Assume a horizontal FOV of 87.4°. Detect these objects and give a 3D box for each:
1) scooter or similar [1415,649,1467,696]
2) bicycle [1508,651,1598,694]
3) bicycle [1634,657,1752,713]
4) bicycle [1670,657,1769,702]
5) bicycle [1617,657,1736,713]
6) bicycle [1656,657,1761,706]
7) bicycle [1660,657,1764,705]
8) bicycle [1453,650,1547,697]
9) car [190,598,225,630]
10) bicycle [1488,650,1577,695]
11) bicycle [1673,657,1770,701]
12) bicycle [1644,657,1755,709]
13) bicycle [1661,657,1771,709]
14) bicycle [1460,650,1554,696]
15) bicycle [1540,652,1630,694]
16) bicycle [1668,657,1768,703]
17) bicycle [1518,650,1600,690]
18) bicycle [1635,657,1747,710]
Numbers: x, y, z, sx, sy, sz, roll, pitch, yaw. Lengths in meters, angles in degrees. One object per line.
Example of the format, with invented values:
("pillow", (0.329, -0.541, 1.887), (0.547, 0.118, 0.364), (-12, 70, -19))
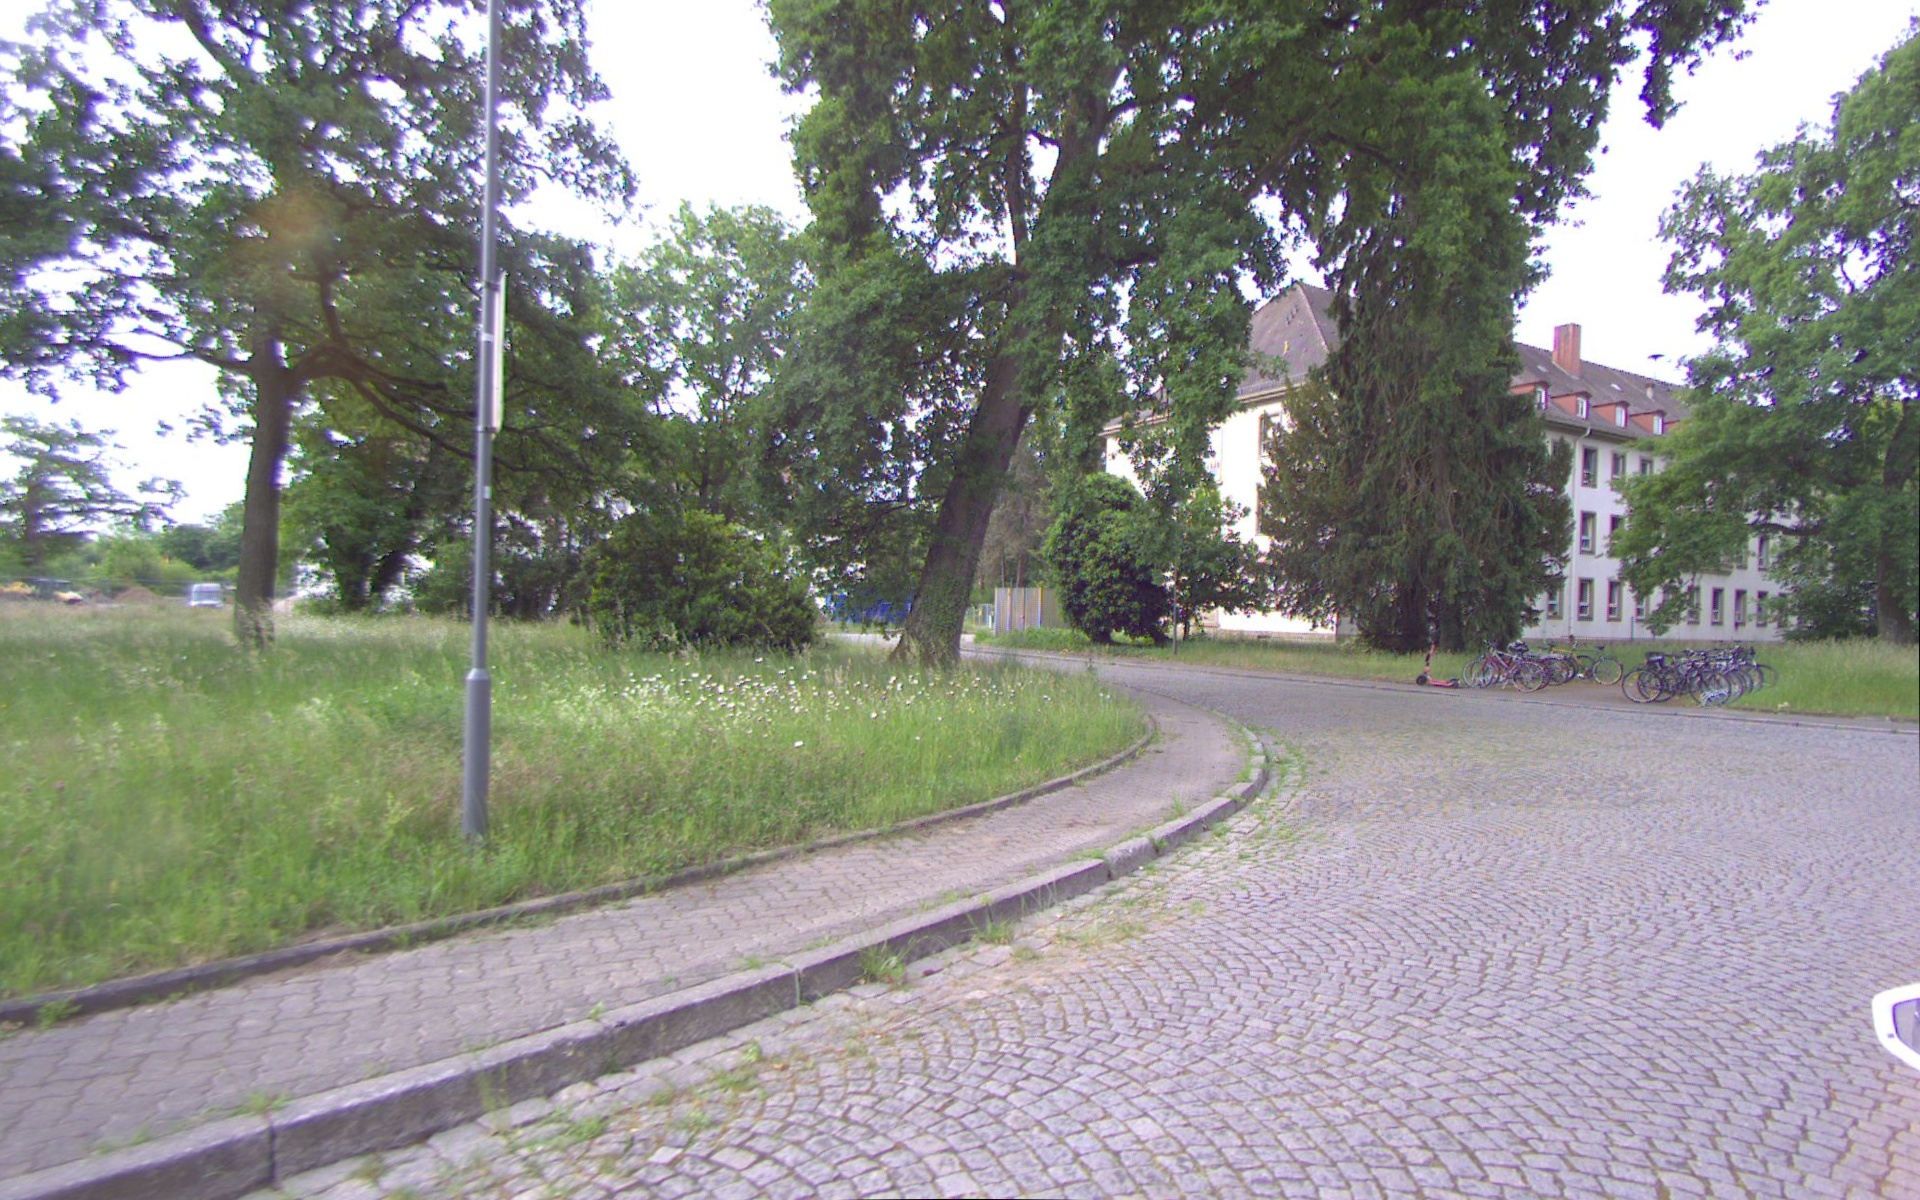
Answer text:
("scooter or similar", (11.758, 1.754, 24.599), (0.445, 1.052, 1.351), (2, -1, -8))
("bicycle", (15.645, 1.889, 26.529), (0.622, 1.002, 1.941), (2, -1, -39))
("bicycle", (15.189, 1.746, 20.858), (1.933, 1.002, 0.624), (1, -1, 38))
("bicycle", (18.991, 1.972, 25.153), (1.933, 1.002, 0.624), (1, -1, 38))
("bicycle", (14.645, 1.721, 20.567), (1.934, 1.002, 0.624), (1, -1, 40))
("bicycle", (17.400, 1.878, 23.385), (1.933, 1.002, 0.624), (1, -1, 38))
("bicycle", (17.809, 1.902, 23.833), (1.933, 1.002, 0.624), (1, -1, 38))
("bicycle", (12.965, 1.744, 24.142), (1.931, 1.002, 0.625), (1, -1, 34))
("car", (-56.928, 1.034, 76.023), (1.982, 2.229, 4.985), (2, -1, -37))
("bicycle", (14.611, 1.834, 25.650), (1.931, 1.002, 0.625), (1, -1, 34))
("bicycle", (19.481, 2.002, 25.738), (1.933, 1.002, 0.624), (1, -1, 38))
("bicycle", (16.279, 1.812, 22.143), (1.933, 1.002, 0.624), (1, -1, 38))
("bicycle", (16.998, 1.848, 22.630), (1.933, 1.002, 0.624), (1, -1, 38))
("bicycle", (13.319, 1.764, 24.501), (1.933, 1.002, 0.624), (1, -1, 38))
("bicycle", (16.640, 1.928, 26.788), (0.622, 1.002, 1.941), (2, -1, -39))
("bicycle", (18.602, 1.949, 24.694), (1.933, 1.002, 0.624), (1, -1, 38))
("bicycle", (17.145, 1.989, 28.782), (1.937, 1.002, 0.623), (1, -1, 44))
("bicycle", (15.795, 1.787, 21.743), (1.933, 1.002, 0.624), (1, -1, 38))
